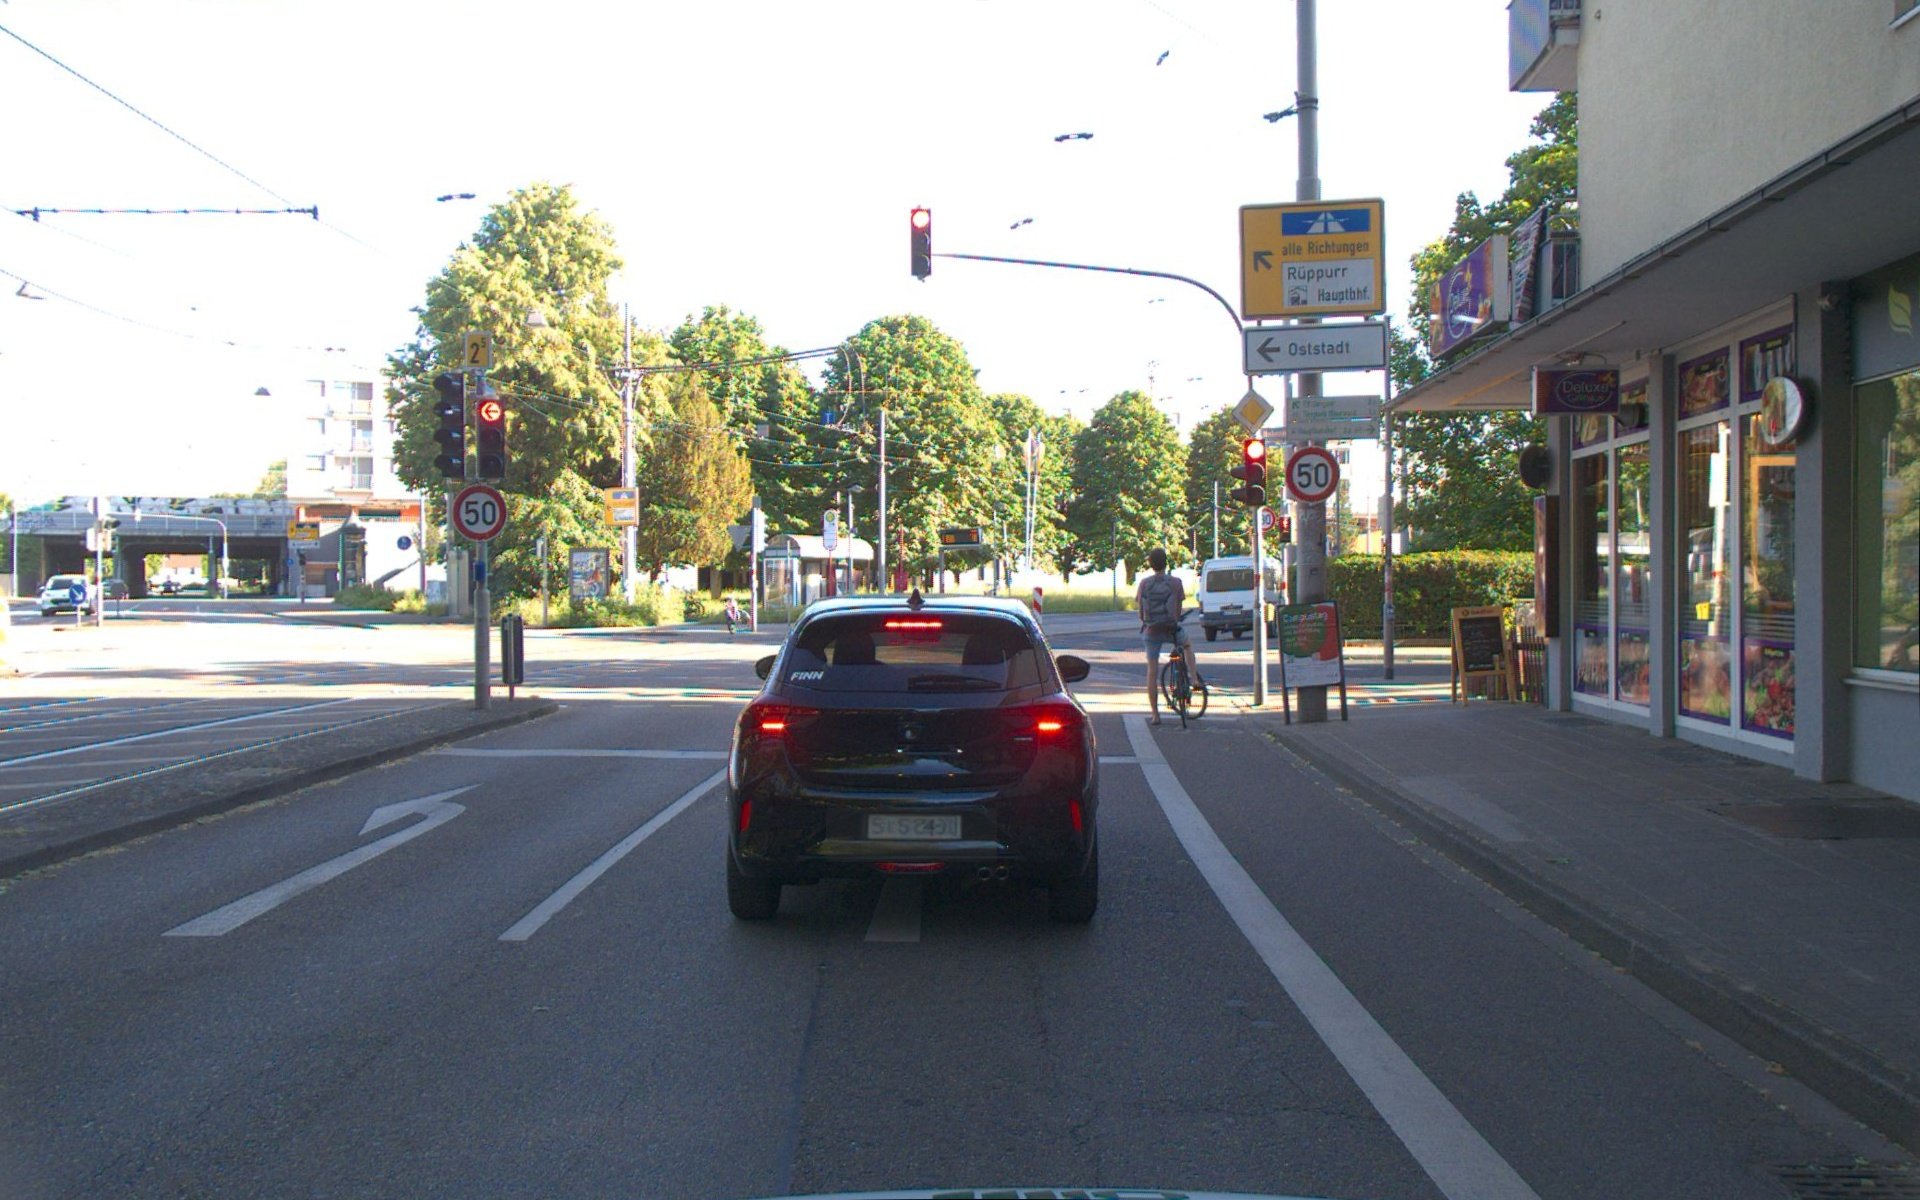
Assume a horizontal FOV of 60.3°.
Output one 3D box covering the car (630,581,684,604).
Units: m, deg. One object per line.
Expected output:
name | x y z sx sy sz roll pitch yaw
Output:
car | -21.337 -0.517 116.599 3.489 1.596 1.535 1 0 -24

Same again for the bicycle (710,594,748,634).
bicycle | -6.489 0.369 46.529 0.780 1.083 2.184 0 1 -1

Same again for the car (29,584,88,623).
car | -38.404 0.143 70.508 1.860 1.613 3.809 1 0 -24

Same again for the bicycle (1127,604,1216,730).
bicycle | 2.322 0.688 17.938 0.737 1.256 2.017 0 1 14

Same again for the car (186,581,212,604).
car | -59.242 -0.575 128.769 1.732 1.713 3.712 1 0 -25

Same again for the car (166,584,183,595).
car | -93.269 -1.305 196.260 1.562 1.282 3.394 -1 1 -30

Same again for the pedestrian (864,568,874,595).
pedestrian | -6.376 -1.280 115.762 0.592 1.904 0.519 1 -1 -7

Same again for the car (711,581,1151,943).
car | -0.145 0.646 8.789 1.803 1.487 3.983 0 1 -1

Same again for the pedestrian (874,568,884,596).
pedestrian | -5.666 -1.269 115.484 0.592 1.904 0.519 1 -1 -7

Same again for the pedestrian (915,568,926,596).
pedestrian | -2.698 -1.235 112.789 0.597 1.904 0.514 1 -1 -29

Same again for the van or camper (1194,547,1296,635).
van or camper | 8.050 -0.226 46.353 1.987 2.351 4.540 1 0 20

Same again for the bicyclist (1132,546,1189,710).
bicyclist | 2.163 0.292 17.794 0.522 1.722 0.568 0 0 16
